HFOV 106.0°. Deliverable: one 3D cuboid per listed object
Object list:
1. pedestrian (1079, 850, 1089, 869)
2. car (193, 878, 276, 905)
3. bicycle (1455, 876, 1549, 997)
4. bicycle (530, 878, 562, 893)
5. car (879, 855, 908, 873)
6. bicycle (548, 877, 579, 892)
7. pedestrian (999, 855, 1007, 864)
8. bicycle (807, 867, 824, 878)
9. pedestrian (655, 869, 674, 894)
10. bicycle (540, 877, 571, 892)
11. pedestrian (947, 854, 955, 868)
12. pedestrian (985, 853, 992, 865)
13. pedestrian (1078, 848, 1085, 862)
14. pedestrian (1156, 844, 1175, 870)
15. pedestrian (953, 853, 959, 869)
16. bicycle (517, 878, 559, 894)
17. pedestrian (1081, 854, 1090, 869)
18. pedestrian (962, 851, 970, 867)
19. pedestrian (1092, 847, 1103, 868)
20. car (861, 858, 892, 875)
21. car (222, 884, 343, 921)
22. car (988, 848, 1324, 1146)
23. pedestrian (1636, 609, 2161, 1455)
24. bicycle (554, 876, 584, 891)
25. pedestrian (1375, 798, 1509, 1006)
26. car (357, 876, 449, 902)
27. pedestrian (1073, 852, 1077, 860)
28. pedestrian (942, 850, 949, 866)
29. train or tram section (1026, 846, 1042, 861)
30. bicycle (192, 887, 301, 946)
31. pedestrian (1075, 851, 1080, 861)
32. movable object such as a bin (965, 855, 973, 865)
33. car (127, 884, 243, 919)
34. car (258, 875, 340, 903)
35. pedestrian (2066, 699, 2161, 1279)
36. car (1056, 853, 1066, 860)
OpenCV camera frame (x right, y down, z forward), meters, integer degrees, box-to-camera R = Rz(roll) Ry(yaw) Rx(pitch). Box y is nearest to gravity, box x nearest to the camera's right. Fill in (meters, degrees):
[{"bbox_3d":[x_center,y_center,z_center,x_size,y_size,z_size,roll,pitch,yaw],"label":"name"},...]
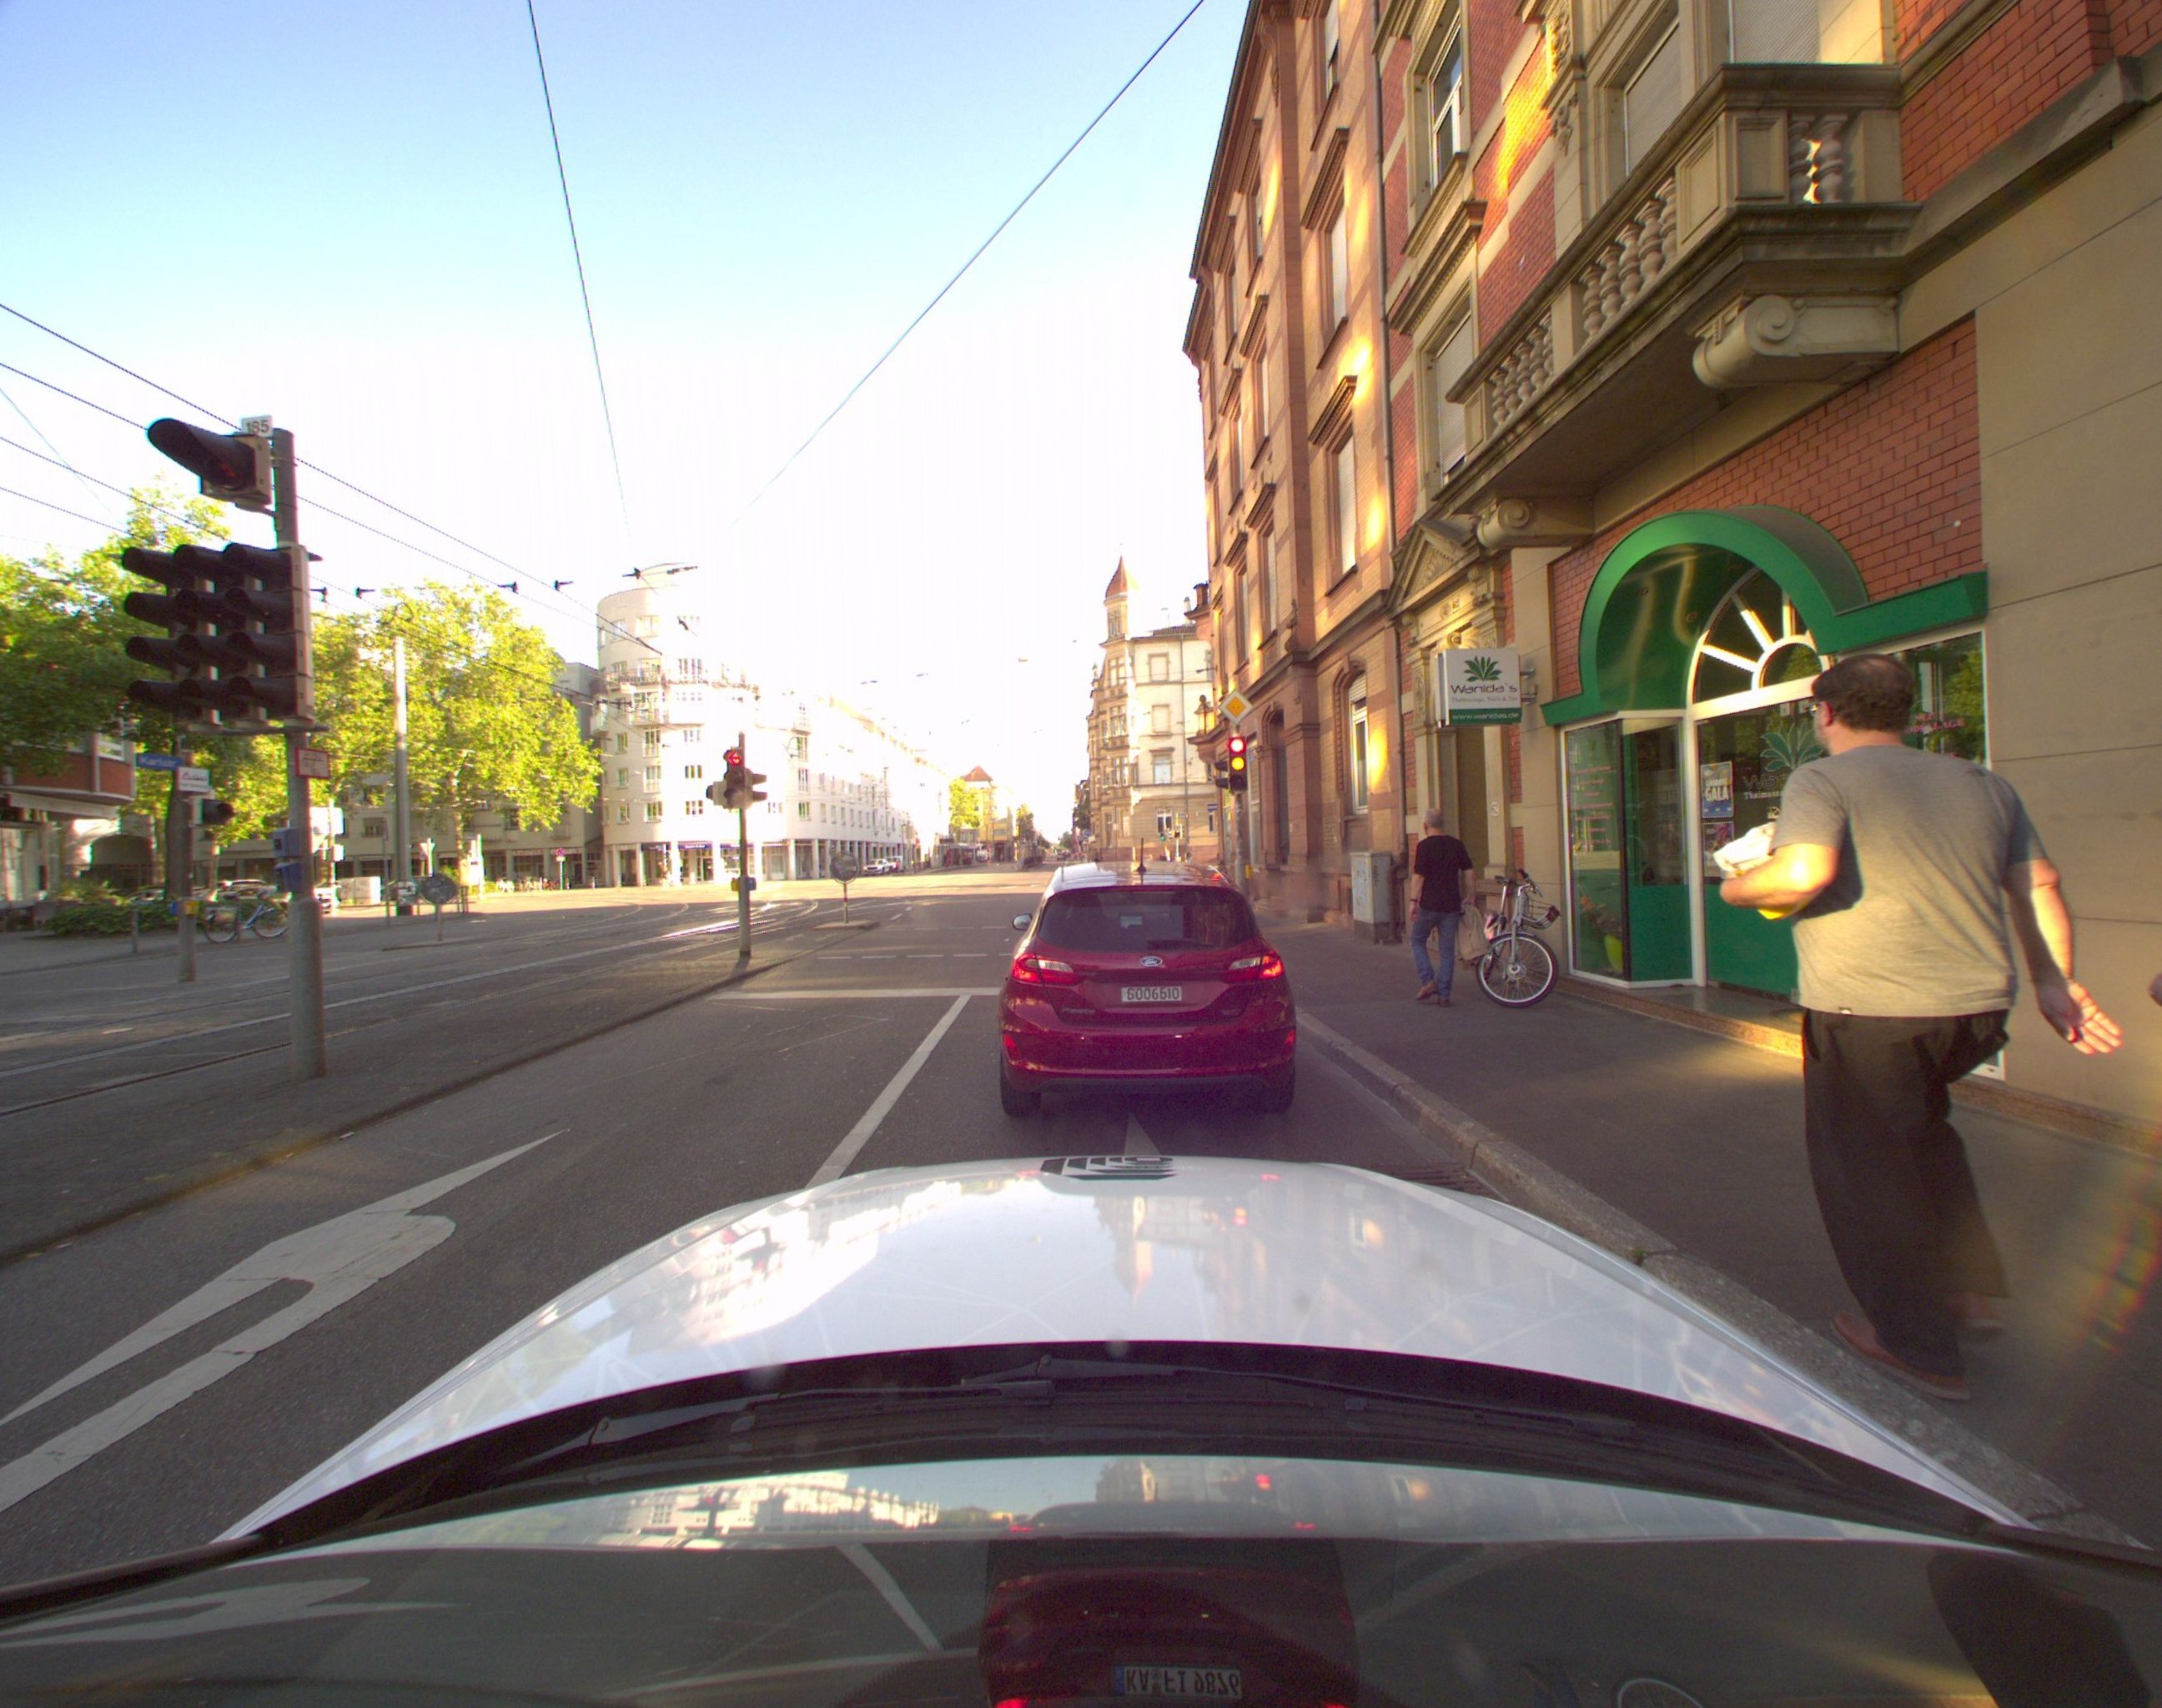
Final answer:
[{"bbox_3d":[0.286,0.485,76.208,0.716,1.721,0.795,-3,-1,-3],"label":"pedestrian"},{"bbox_3d":[-60.541,2.628,58.361,1.790,1.715,3.996,-2,0,-3],"label":"car"},{"bbox_3d":[3.927,0.733,7.671,0.342,0.996,1.243,-3,0,8],"label":"bicycle"},{"bbox_3d":[-41.859,2.461,63.774,1.933,1.107,0.820,-2,0,3],"label":"bicycle"},{"bbox_3d":[-20.384,1.045,88.856,1.988,1.837,5.343,-2,0,-2],"label":"car"},{"bbox_3d":[-41.919,2.444,65.991,1.935,1.107,0.819,-2,0,1],"label":"bicycle"},{"bbox_3d":[-16.170,1.157,168.203,1.347,1.904,1.465,-2,-1,-17],"label":"pedestrian"},{"bbox_3d":[-24.371,1.701,74.841,0.838,0.927,2.264,-2,0,-1],"label":"bicycle"},{"bbox_3d":[-29.329,1.911,57.386,0.863,1.681,0.698,-3,2,7],"label":"pedestrian"},{"bbox_3d":[-41.793,2.451,64.764,1.933,1.107,0.820,-2,0,3],"label":"bicycle"},{"bbox_3d":[-15.484,0.870,97.155,0.699,1.691,0.666,-2,-1,-25],"label":"pedestrian"},{"bbox_3d":[-14.938,0.848,131.031,0.880,1.904,0.929,-2,-1,-17],"label":"pedestrian"},{"bbox_3d":[0.119,0.093,107.468,0.712,1.774,0.772,-5,1,-5],"label":"pedestrian"},{"bbox_3d":[5.901,0.211,56.952,1.021,1.807,1.081,-2,0,-5],"label":"pedestrian"},{"bbox_3d":[-15.510,0.901,101.059,0.694,1.904,0.671,-2,-1,-4],"label":"pedestrian"},{"bbox_3d":[-41.439,2.449,62.138,2.440,1.107,0.933,-2,0,-15],"label":"bicycle"},{"bbox_3d":[0.402,0.656,75.222,0.716,1.331,0.795,-3,-1,-3],"label":"pedestrian"},{"bbox_3d":[-14.581,0.621,103.225,0.930,1.904,0.880,-2,-1,-4],"label":"pedestrian"},{"bbox_3d":[1.418,0.313,70.999,0.799,1.824,0.797,-4,1,-2],"label":"pedestrian"},{"bbox_3d":[-20.301,1.227,81.128,1.988,1.620,4.507,-2,0,-2],"label":"car"},{"bbox_3d":[-36.338,2.181,37.089,4.408,1.421,1.899,-3,0,15],"label":"car"},{"bbox_3d":[0.421,0.714,5.894,1.686,1.495,3.581,0,0,1],"label":"car"},{"bbox_3d":[2.247,0.398,2.244,0.819,1.894,0.754,-3,0,-1],"label":"pedestrian"},{"bbox_3d":[-42.004,2.440,66.856,1.935,1.107,0.819,-2,0,1],"label":"bicycle"},{"bbox_3d":[3.205,0.404,7.298,0.773,1.723,0.754,-3,0,-1],"label":"pedestrian"},{"bbox_3d":[-44.438,2.290,53.463,4.423,1.421,1.892,-3,0,2],"label":"car"},{"bbox_3d":[-1.203,0.505,172.457,0.748,1.661,0.650,0,-1,1],"label":"pedestrian"},{"bbox_3d":[-15.145,0.458,90.985,0.597,1.691,0.613,-2,-1,-1],"label":"pedestrian"},{"bbox_3d":[-10.878,-0.132,190.675,2.875,3.490,14.167,-1,0,1],"label":"train or tram section"},{"bbox_3d":[-19.780,1.454,19.356,0.578,1.235,1.859,-1,0,4],"label":"bicycle"},{"bbox_3d":[-0.660,0.369,141.051,0.712,1.774,0.772,-5,1,-5],"label":"pedestrian"},{"bbox_3d":[-15.091,0.762,109.757,0.935,1.286,0.933,-2,-1,-4],"label":"movable object such as a bin"},{"bbox_3d":[-43.061,2.271,39.167,4.408,1.421,1.899,-3,0,15],"label":"car"},{"bbox_3d":[-53.275,2.340,55.614,1.790,1.715,3.996,-2,0,-3],"label":"car"},{"bbox_3d":[3.568,0.388,2.219,0.773,1.723,0.754,-3,0,-1],"label":"pedestrian"},{"bbox_3d":[-4.244,0.606,174.565,1.988,1.449,3.998,-1,0,-1],"label":"car"}]
